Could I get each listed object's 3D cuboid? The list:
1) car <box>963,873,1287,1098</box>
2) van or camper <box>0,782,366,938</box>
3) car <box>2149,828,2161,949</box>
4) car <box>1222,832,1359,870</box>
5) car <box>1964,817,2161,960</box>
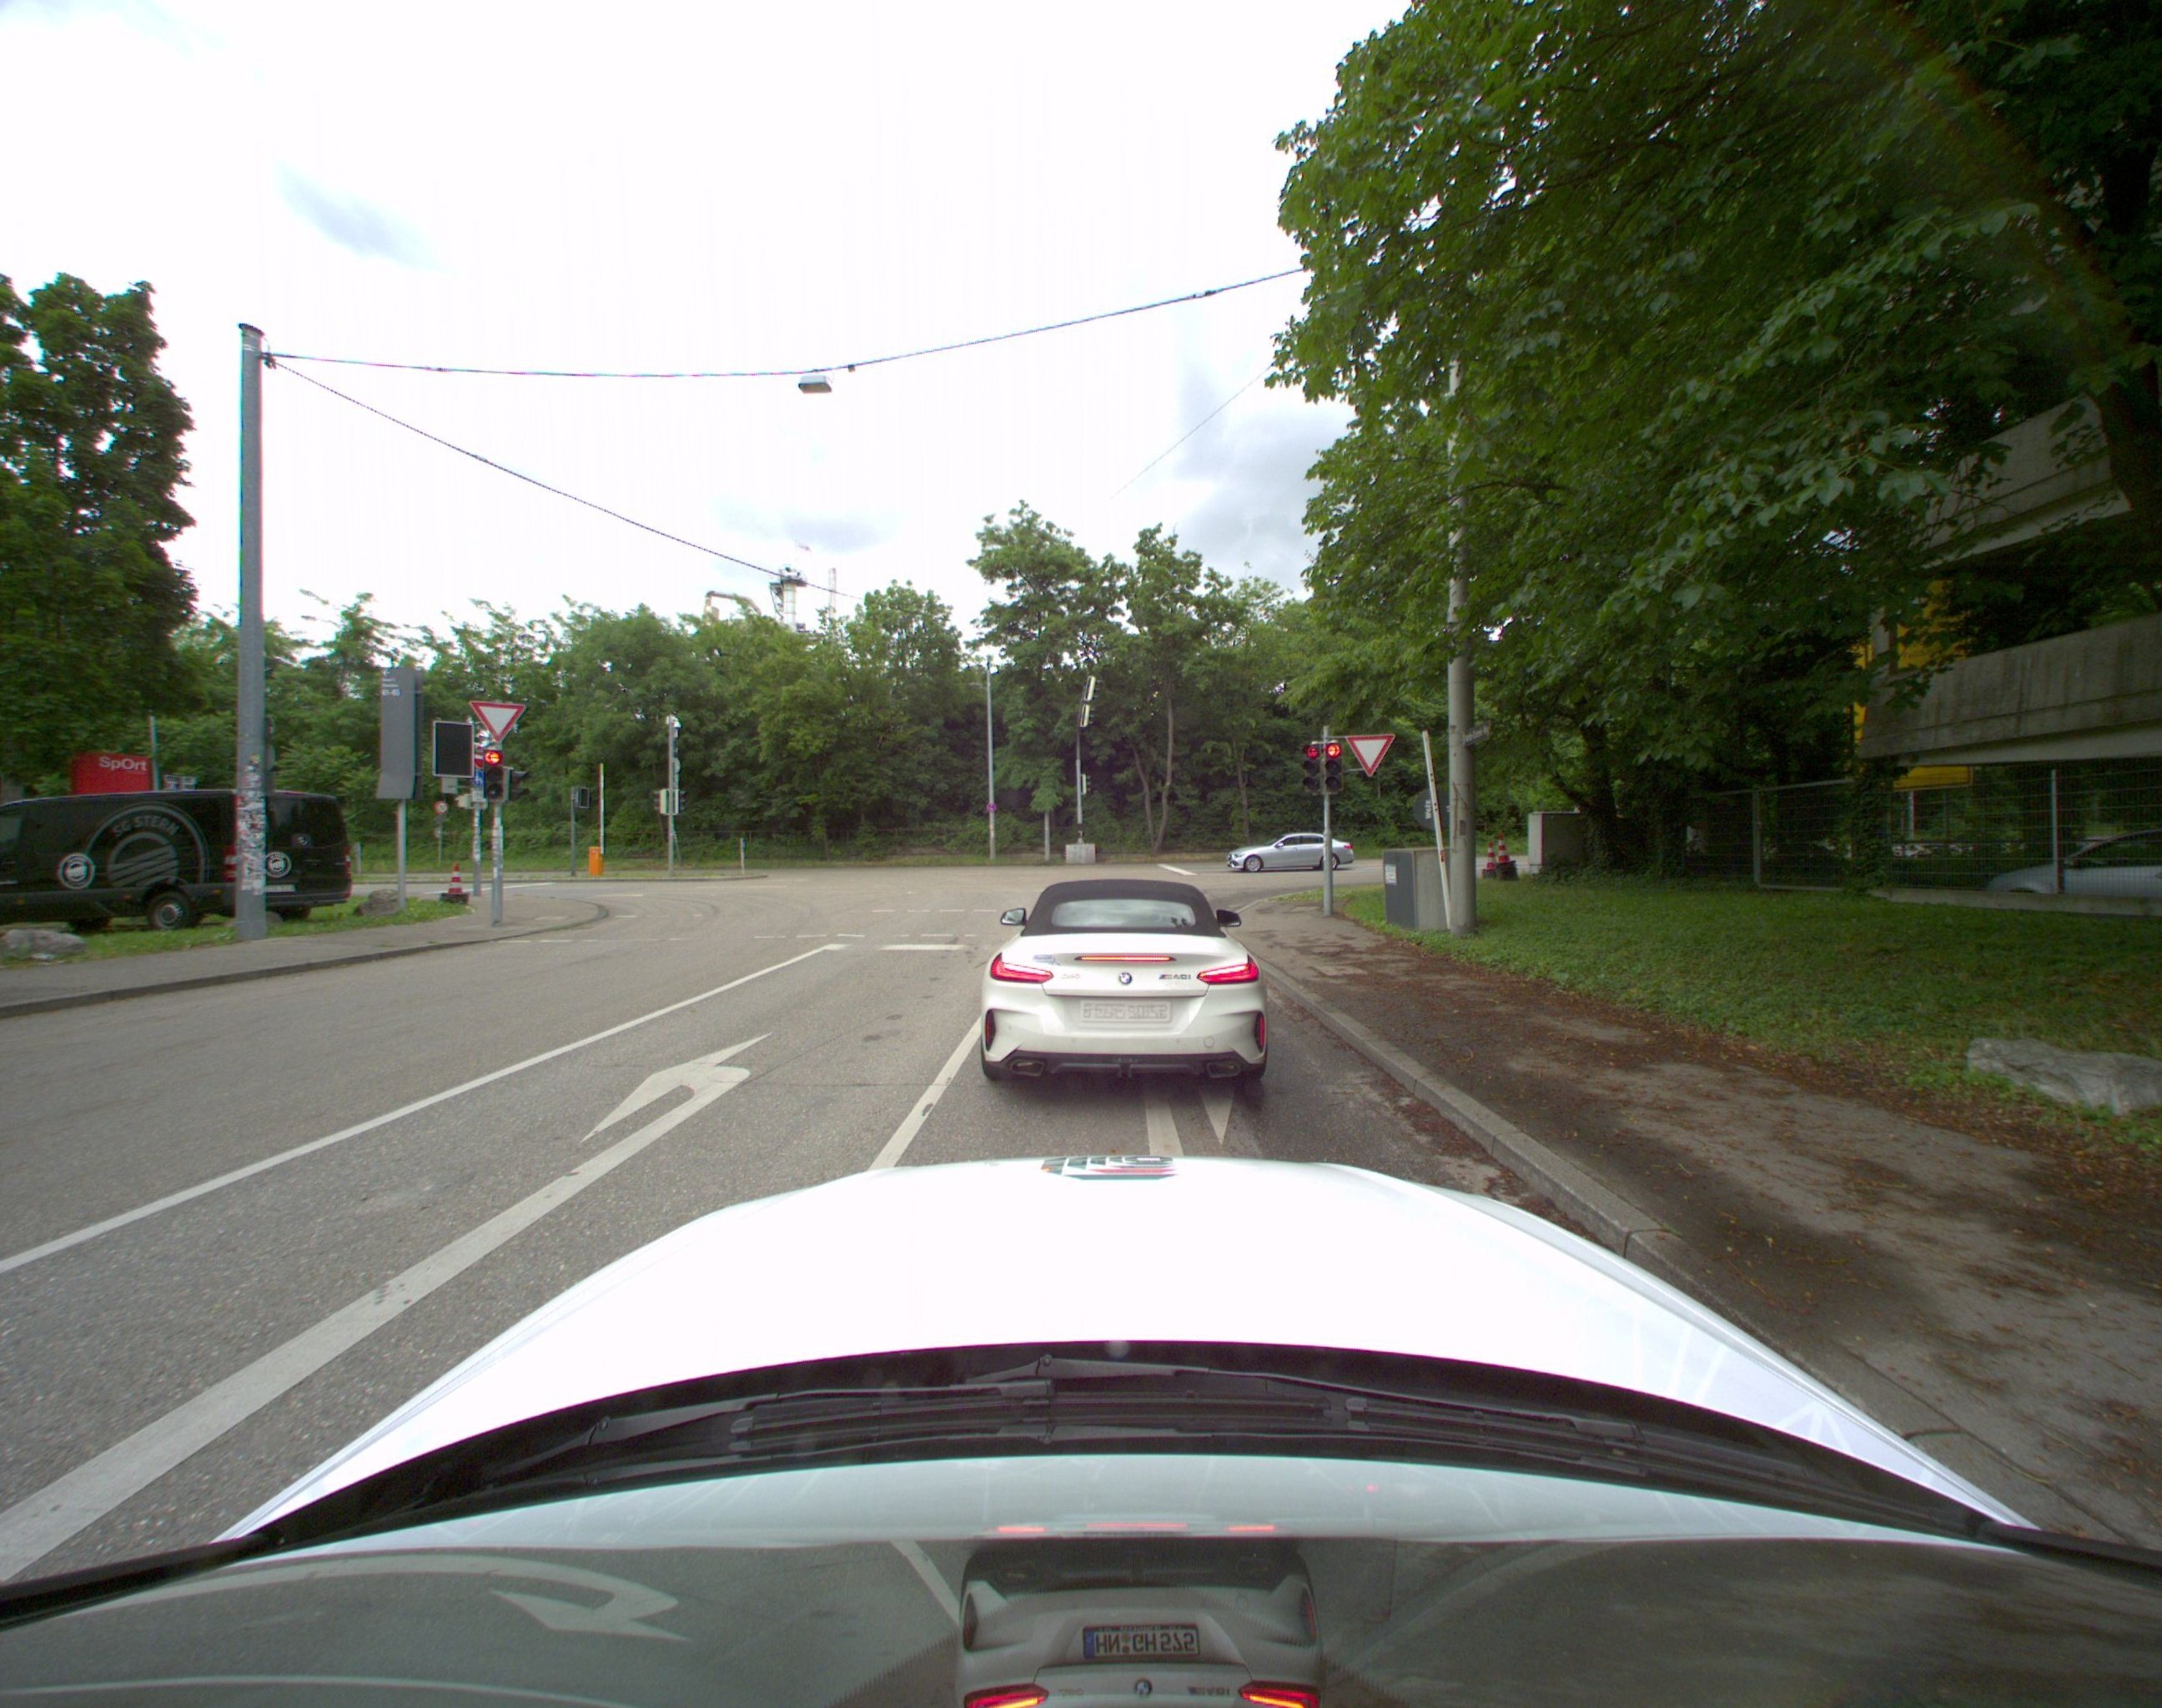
[{"bbox_3d":[0.249,0.788,6.583,1.822,1.257,3.998,0,-1,0],"label":"car"},{"bbox_3d":[-15.883,0.158,13.948,5.513,2.314,2.063,-2,-2,2],"label":"van or camper"},{"bbox_3d":[16.014,0.450,9.738,1.574,1.708,3.770,0,-1,2],"label":"car"},{"bbox_3d":[7.904,-0.135,31.010,4.736,1.333,1.834,-1,2,0],"label":"car"},{"bbox_3d":[13.620,0.423,10.045,1.475,1.708,3.720,0,-1,2],"label":"car"}]
